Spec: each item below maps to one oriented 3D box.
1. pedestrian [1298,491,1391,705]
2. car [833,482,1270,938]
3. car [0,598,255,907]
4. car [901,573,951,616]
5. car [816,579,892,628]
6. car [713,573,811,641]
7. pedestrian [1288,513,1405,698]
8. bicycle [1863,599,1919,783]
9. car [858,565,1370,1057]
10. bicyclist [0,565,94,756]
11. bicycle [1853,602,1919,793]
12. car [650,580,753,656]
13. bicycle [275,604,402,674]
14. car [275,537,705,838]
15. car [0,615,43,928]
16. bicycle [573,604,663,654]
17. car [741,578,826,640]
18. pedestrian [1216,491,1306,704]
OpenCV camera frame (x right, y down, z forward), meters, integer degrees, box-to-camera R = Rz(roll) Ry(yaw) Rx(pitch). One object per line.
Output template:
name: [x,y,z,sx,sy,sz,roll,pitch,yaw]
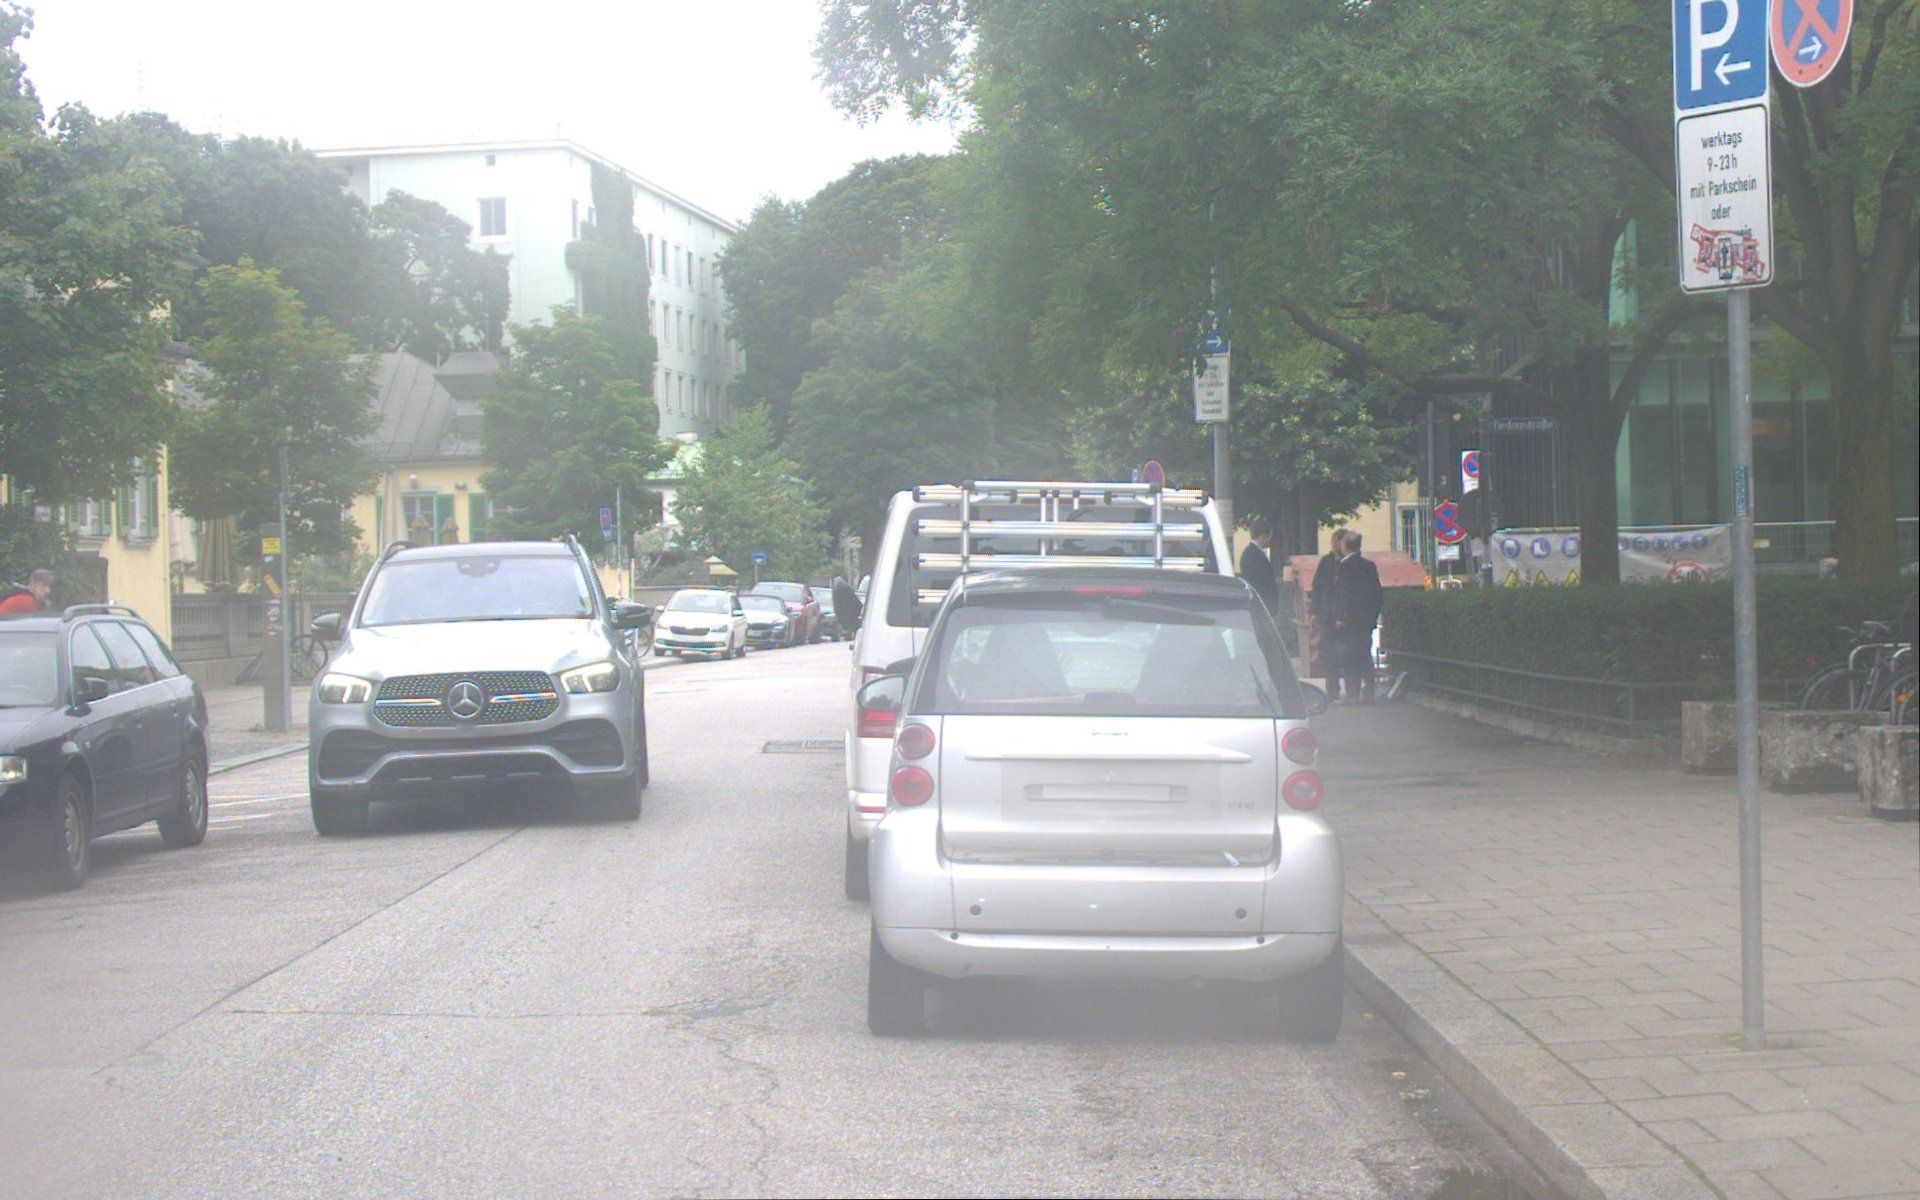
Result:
pedestrian: [3.910,-0.022,35.005,0.742,2.127,1.056,-2,0,-1]
car: [0.336,0.456,17.493,1.845,1.926,5.273,1,0,-1]
car: [-5.526,0.792,19.329,1.993,1.486,4.883,-3,0,1]
car: [-1.395,-0.240,142.109,1.810,1.677,4.000,-1,1,2]
car: [-3.391,0.110,110.778,1.994,1.481,3.999,-1,1,4]
car: [-5.027,0.159,87.854,1.994,1.643,4.655,-1,0,3]
pedestrian: [4.072,0.051,36.218,0.744,1.901,1.054,-2,0,35]
bicycle: [6.637,0.522,21.281,1.931,1.110,0.471,-2,0,2]
car: [0.486,0.659,12.393,1.605,1.541,2.934,1,0,0]
bicyclist: [-7.519,0.481,27.283,1.091,1.492,0.674,-1,-1,-28]
bicycle: [6.374,0.543,20.492,1.931,1.110,0.471,-2,0,2]
car: [-5.633,0.371,75.269,1.734,1.576,3.787,2,0,3]
bicycle: [-10.105,0.627,55.894,1.931,1.095,0.615,1,0,3]
car: [-2.909,0.486,22.338,2.025,1.683,4.677,-2,1,1]
car: [-5.332,0.836,14.067,1.922,1.434,4.918,-3,0,-2]
bicycle: [-7.030,0.586,70.766,0.623,1.001,2.136,2,1,33]
car: [-4.755,0.257,92.935,1.993,1.597,4.000,-1,-1,1]
pedestrian: [3.077,-0.033,35.264,0.742,2.127,1.056,-2,0,-1]
